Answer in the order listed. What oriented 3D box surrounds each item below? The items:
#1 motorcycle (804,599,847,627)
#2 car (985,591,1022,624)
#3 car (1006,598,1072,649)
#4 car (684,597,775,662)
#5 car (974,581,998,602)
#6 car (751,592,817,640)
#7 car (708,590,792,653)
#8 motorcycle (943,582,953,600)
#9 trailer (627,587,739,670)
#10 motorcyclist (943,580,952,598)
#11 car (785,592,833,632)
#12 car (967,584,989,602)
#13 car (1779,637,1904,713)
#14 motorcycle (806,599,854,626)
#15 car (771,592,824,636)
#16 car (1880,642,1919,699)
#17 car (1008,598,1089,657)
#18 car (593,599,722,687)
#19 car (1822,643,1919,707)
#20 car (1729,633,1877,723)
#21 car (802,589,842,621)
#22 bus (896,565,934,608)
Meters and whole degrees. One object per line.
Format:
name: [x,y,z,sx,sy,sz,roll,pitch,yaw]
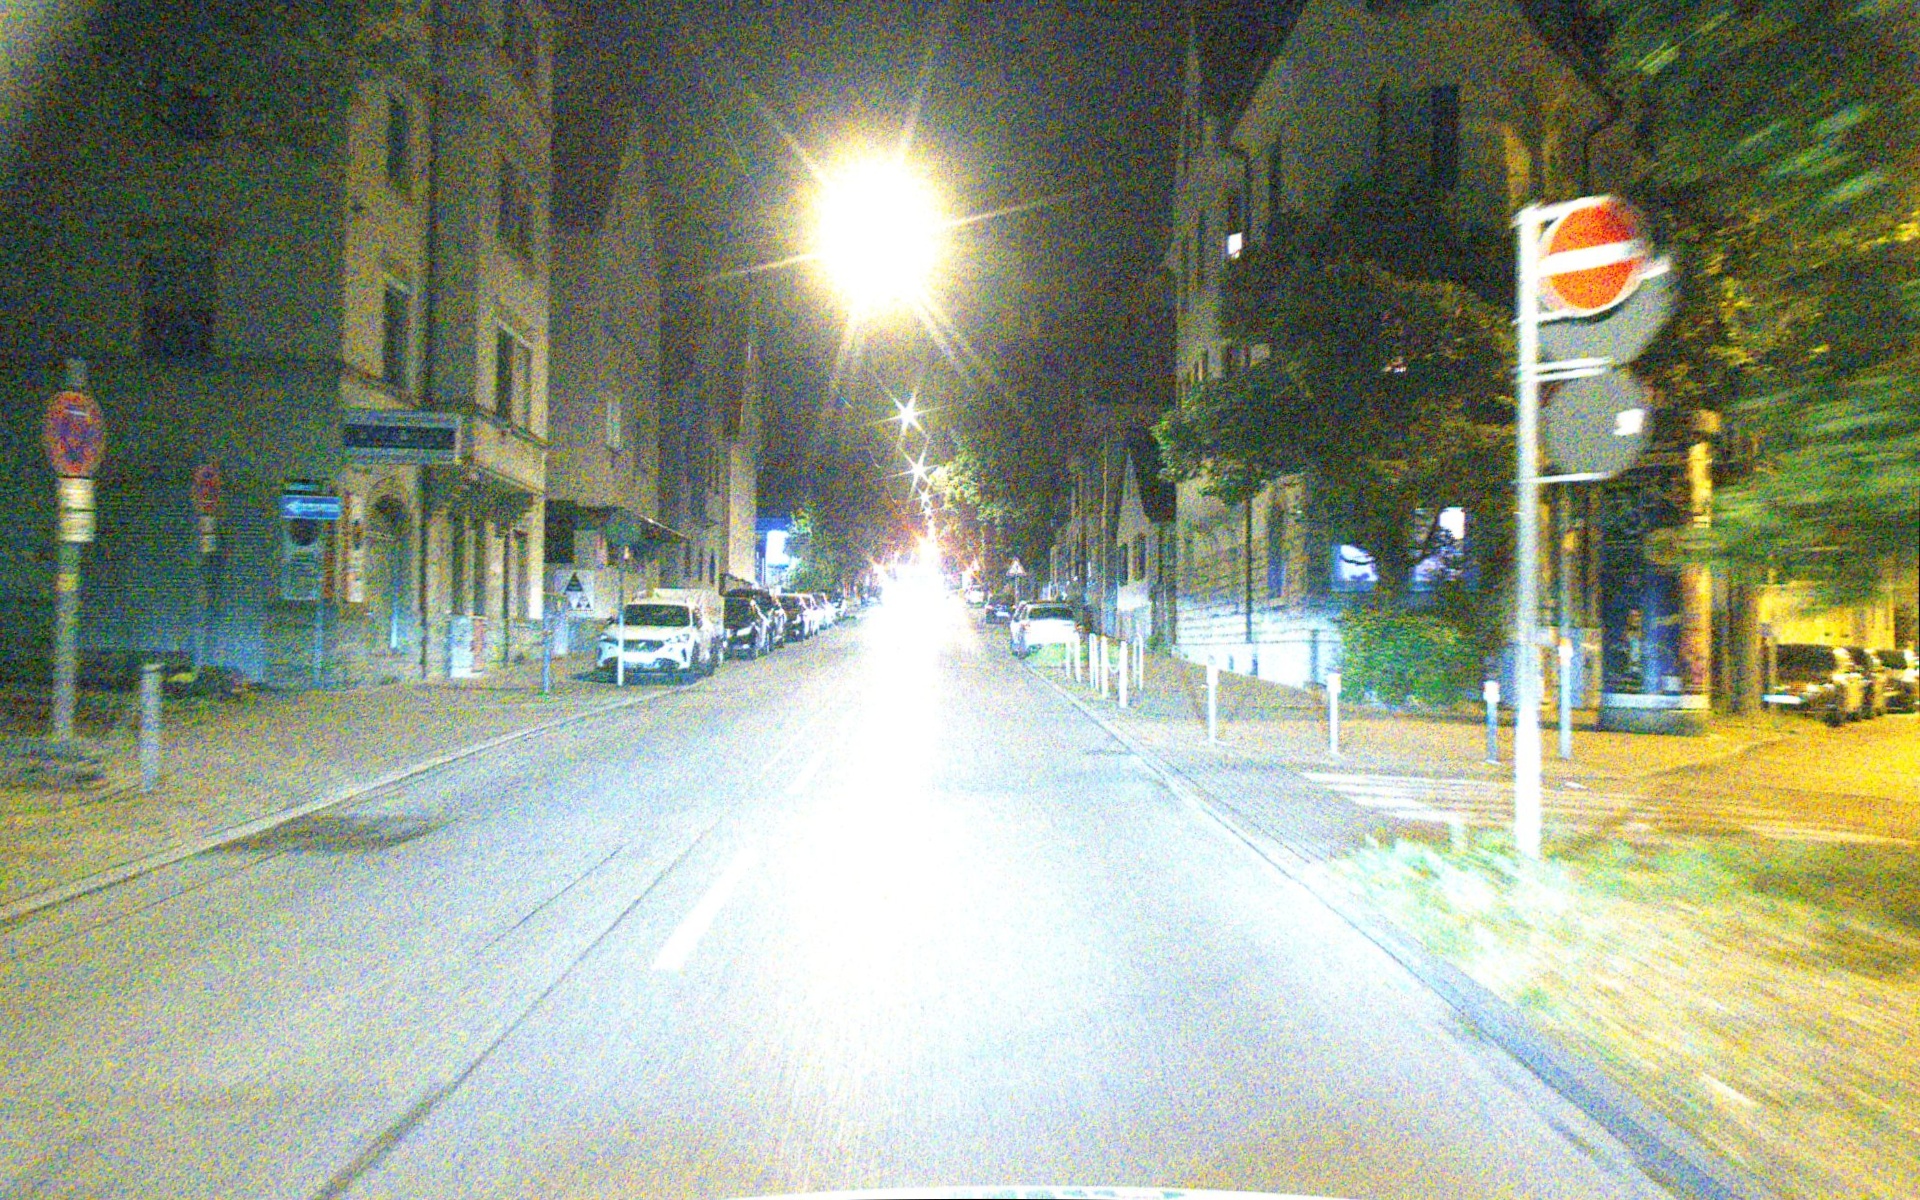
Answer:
motorcycle: [-5.867,0.564,72.126,0.710,1.167,2.174,-1,1,-43]
car: [2.172,0.351,83.245,1.727,1.502,4.080,-1,1,0]
car: [2.374,0.692,50.381,1.735,1.473,4.018,0,0,-1]
car: [-5.764,0.708,41.833,1.798,1.472,4.543,0,1,-2]
car: [2.039,-0.690,132.095,1.775,1.621,4.273,-1,1,-1]
car: [-5.872,0.515,55.534,1.826,1.518,4.279,2,0,-2]
car: [-5.903,0.573,47.001,1.797,1.647,4.544,2,1,0]
motorcycle: [-1.196,-0.880,163.431,0.912,1.782,2.624,1,0,0]
trailer: [-5.948,0.585,35.871,1.603,1.668,3.441,1,0,4]
motorcyclist: [-1.194,-1.087,163.509,0.831,1.782,0.805,1,0,-1]
car: [-6.152,0.461,67.872,1.669,1.517,4.227,-1,1,-2]
car: [1.569,-0.619,145.408,1.830,1.553,4.149,-1,1,-1]
car: [18.524,1.532,34.675,1.767,1.442,3.822,1,0,36]
motorcycle: [-5.836,0.547,74.145,2.162,1.150,0.714,1,1,33]
car: [-5.873,0.493,60.140,1.589,1.518,3.779,2,0,-2]
car: [26.123,1.899,44.651,1.740,1.442,3.903,1,0,36]
car: [2.338,0.706,44.759,1.808,1.442,4.644,-2,0,-1]
car: [-5.639,0.761,31.307,1.778,1.510,4.346,1,0,-2]
car: [21.736,1.742,39.185,1.740,1.364,3.903,1,0,36]
car: [15.264,1.358,29.873,1.767,1.442,3.822,1,0,36]
car: [-6.640,0.246,79.630,1.605,1.524,2.765,1,0,1]
bus: [-3.563,-1.109,133.054,2.780,3.233,10.498,2,1,-1]
